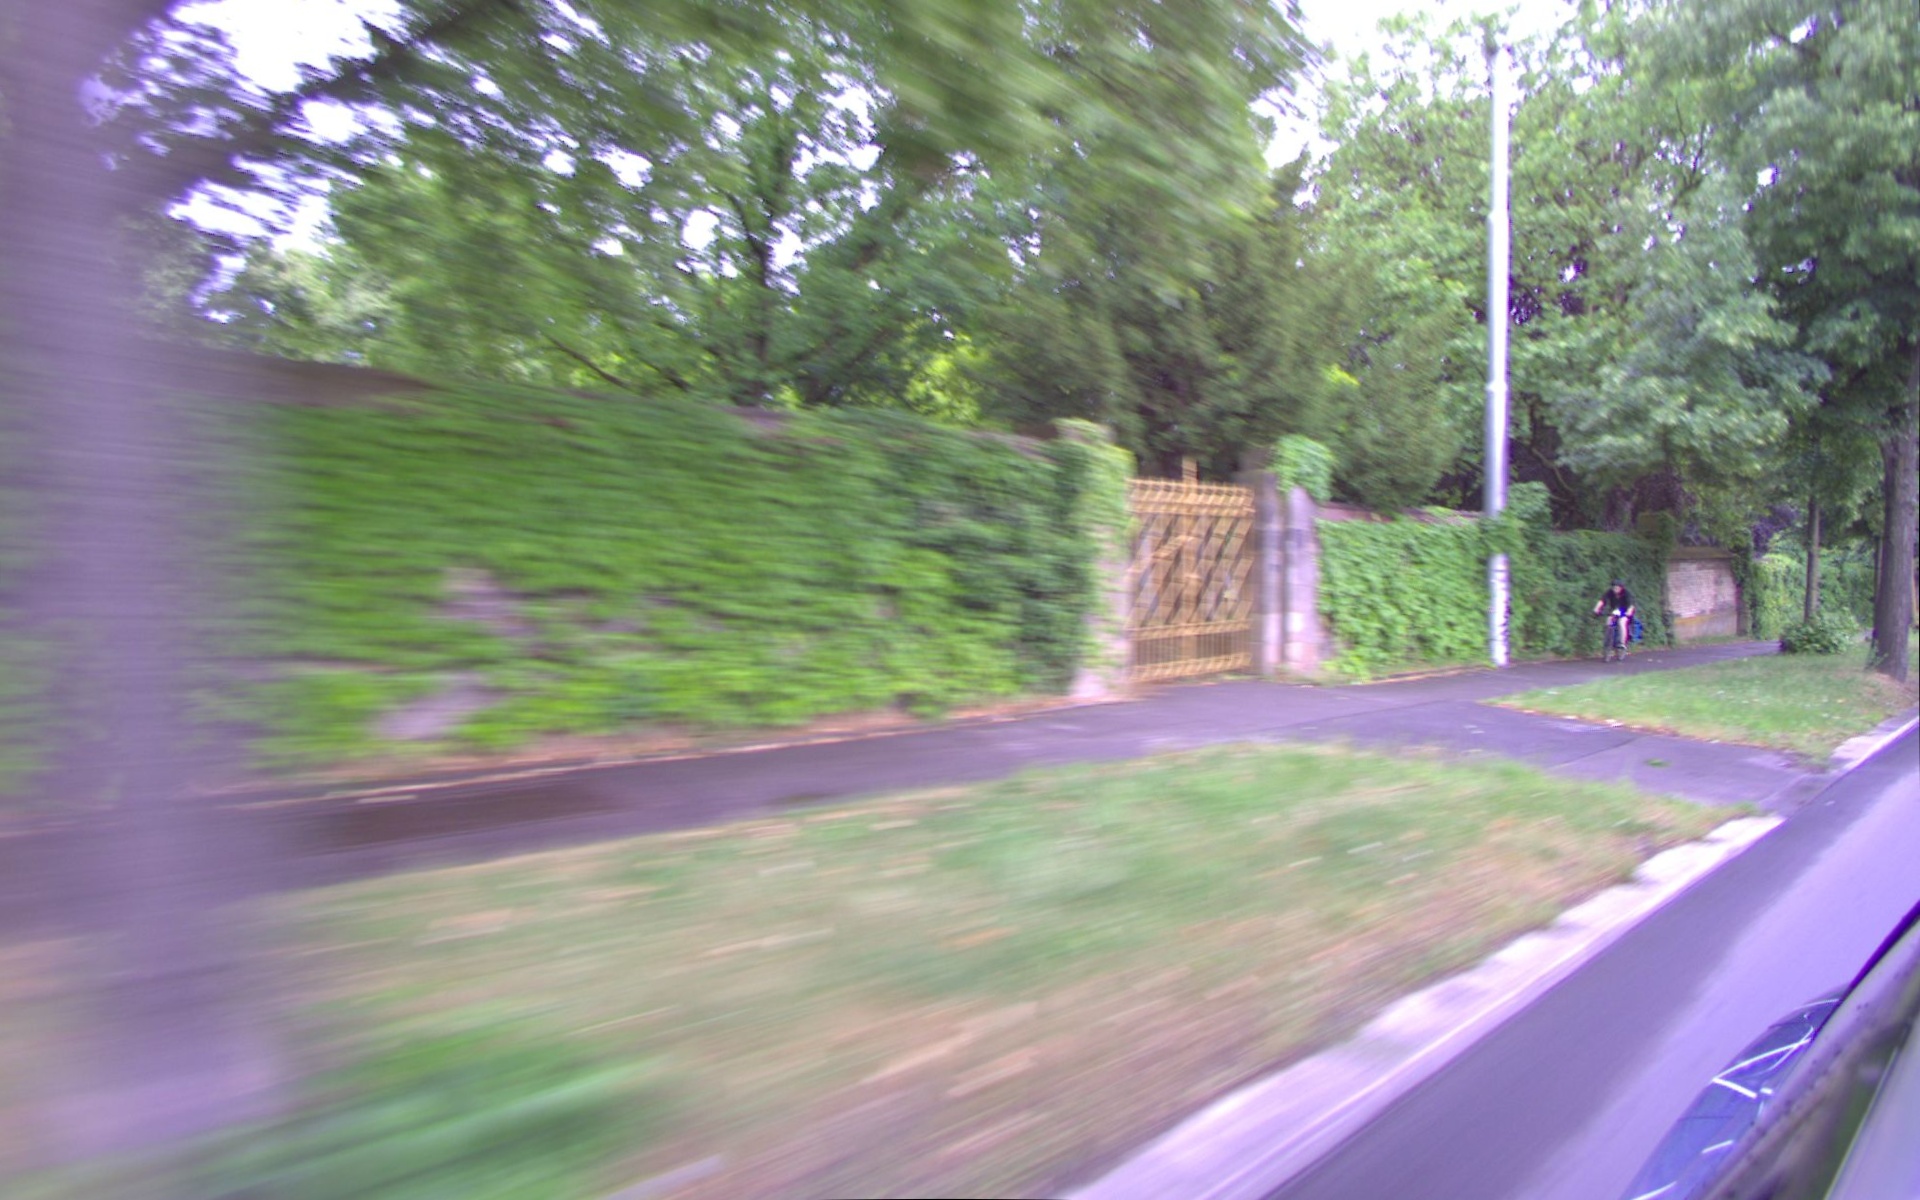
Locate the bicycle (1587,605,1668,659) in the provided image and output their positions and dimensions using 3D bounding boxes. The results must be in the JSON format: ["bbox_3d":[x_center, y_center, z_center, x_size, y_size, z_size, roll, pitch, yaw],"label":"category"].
[{"bbox_3d":[13.177,0.606,19.950,2.502,0.959,0.544,0,2,-38],"label":"bicycle"}]

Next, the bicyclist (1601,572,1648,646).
[{"bbox_3d":[12.998,0.169,19.799,0.654,1.406,0.536,0,2,-38],"label":"bicyclist"}]
